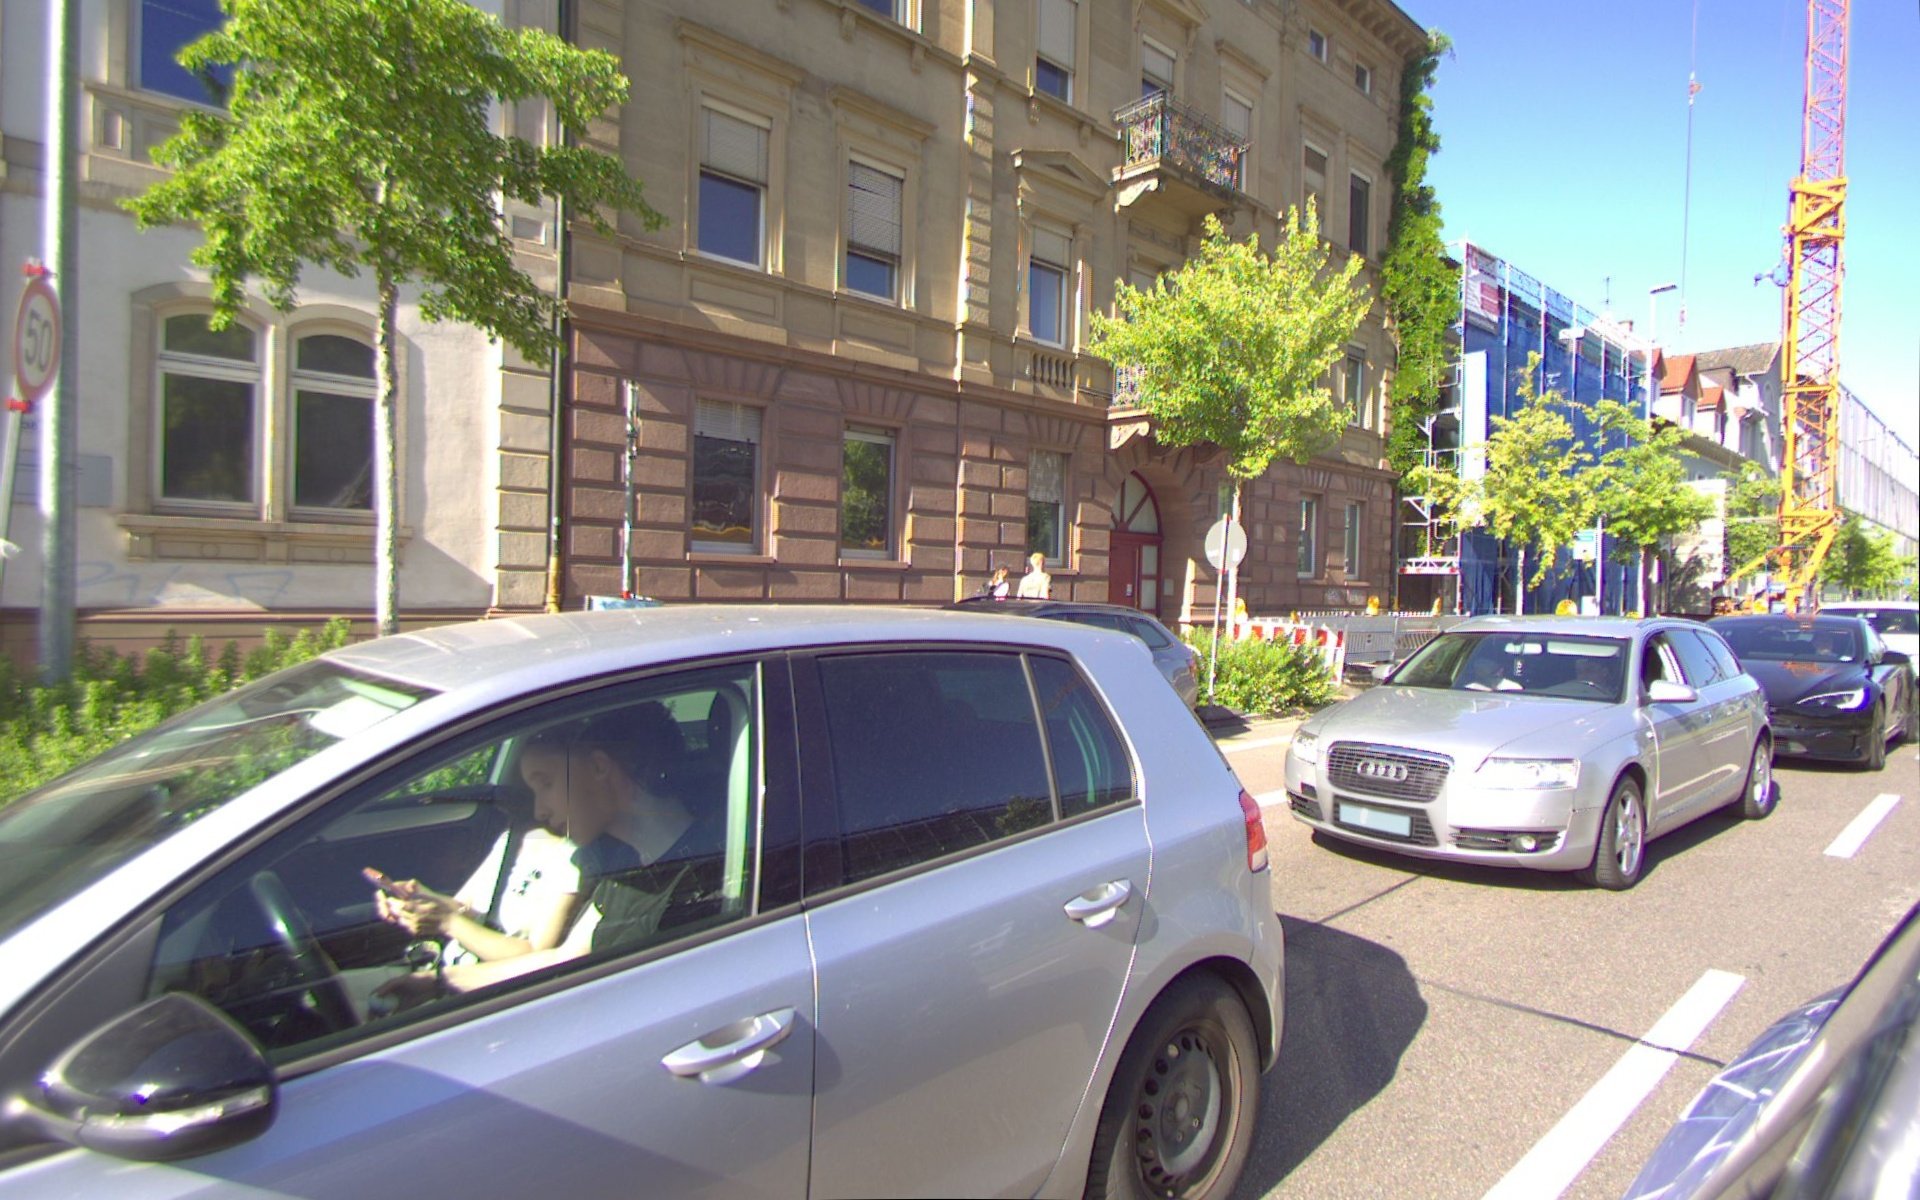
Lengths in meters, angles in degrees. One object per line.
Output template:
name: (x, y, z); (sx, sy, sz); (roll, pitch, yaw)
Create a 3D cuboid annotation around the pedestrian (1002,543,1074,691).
pedestrian: (1.064, 0.217, 13.834); (0.577, 1.936, 0.660); (1, 3, -41)

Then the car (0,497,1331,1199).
car: (-1.095, 0.669, 2.017); (3.934, 1.547, 1.753); (1, 0, -40)

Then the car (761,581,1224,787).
car: (0.522, 0.644, 9.921); (4.619, 1.493, 1.651); (0, 4, -42)

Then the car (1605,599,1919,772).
car: (8.776, 0.735, 10.796); (4.445, 1.462, 2.054); (1, -1, -41)

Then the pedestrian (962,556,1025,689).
pedestrian: (0.484, 0.309, 14.572); (0.577, 1.843, 0.564); (1, 3, -41)

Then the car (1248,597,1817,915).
car: (4.100, 0.731, 6.837); (4.751, 1.445, 1.751); (1, 0, -39)

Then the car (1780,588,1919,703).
car: (14.903, 0.663, 16.333); (3.930, 1.654, 1.932); (1, -1, -41)
